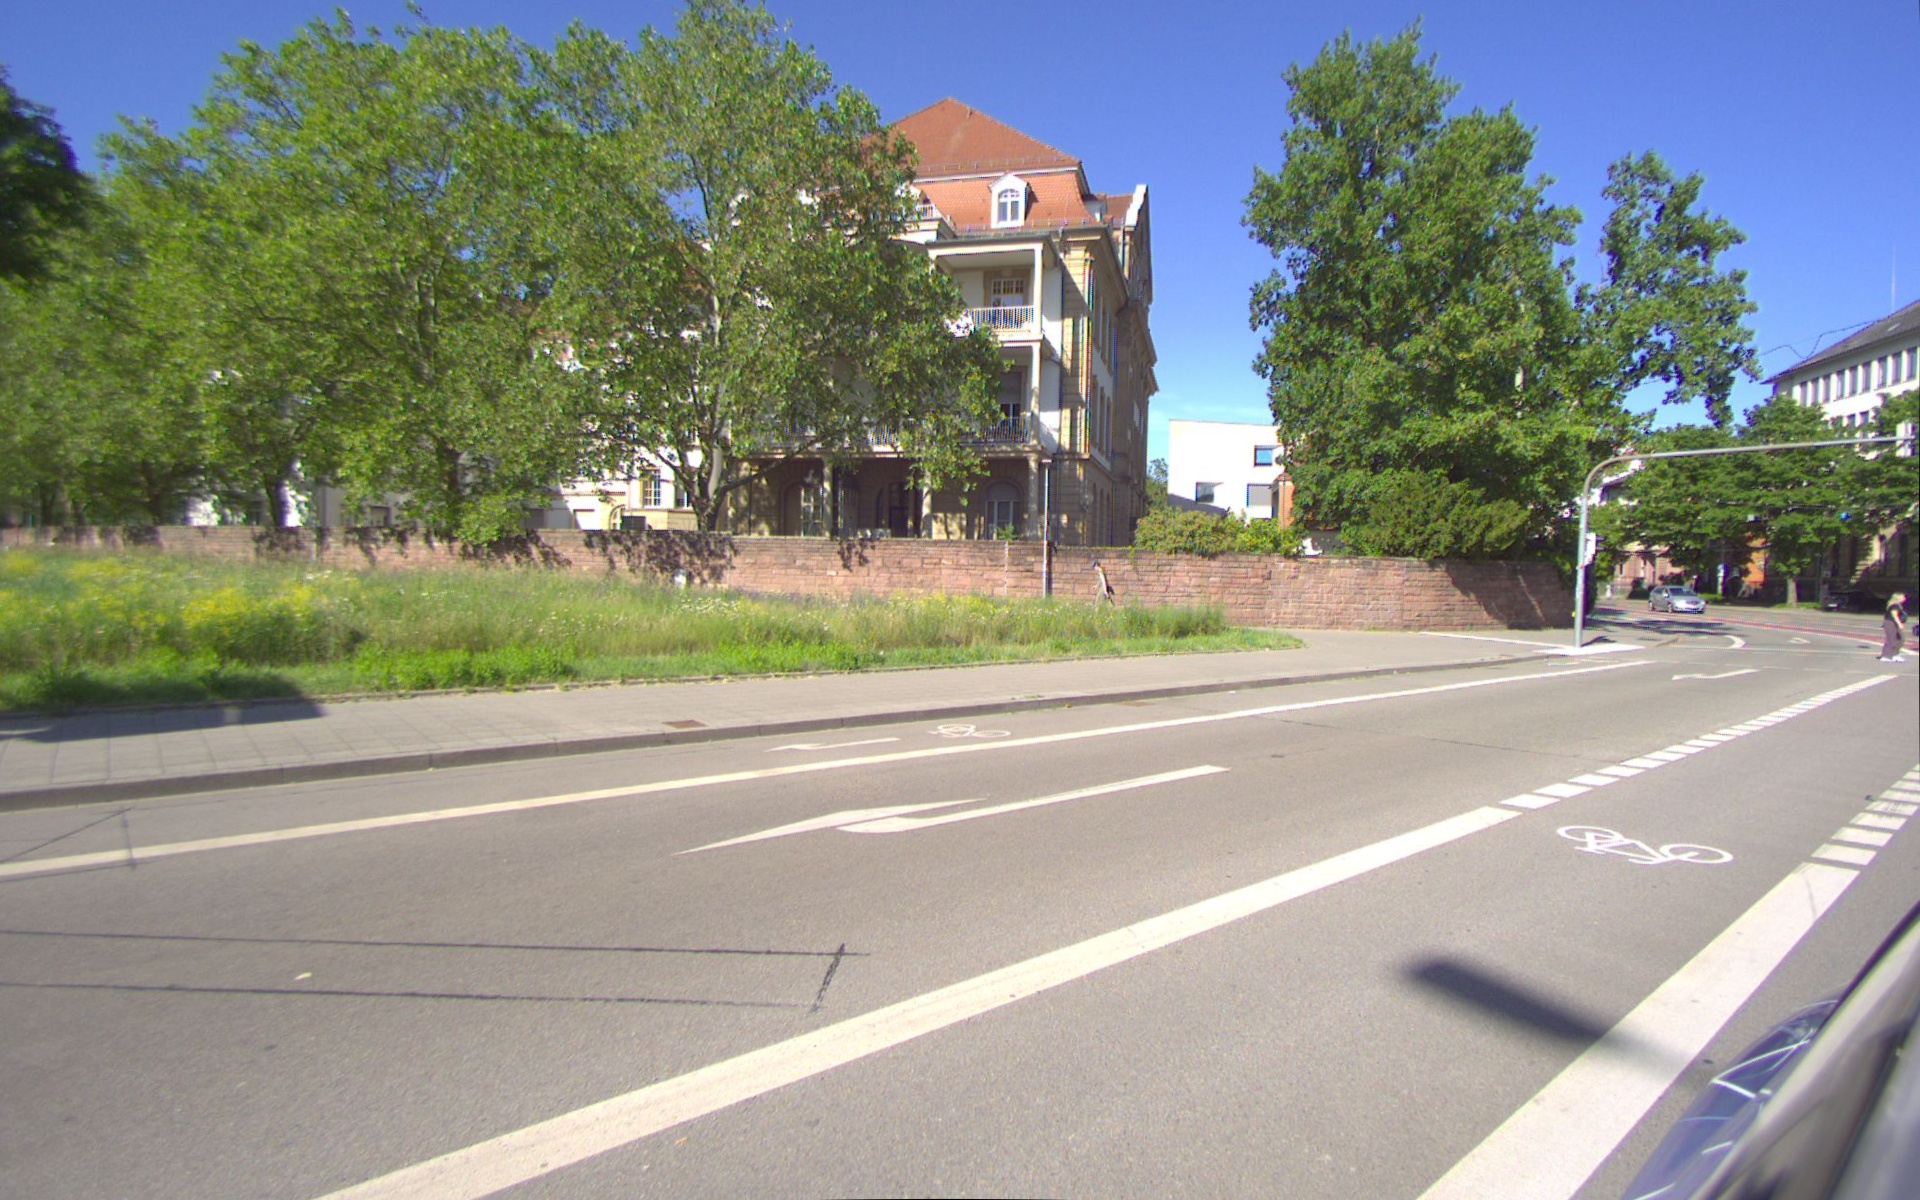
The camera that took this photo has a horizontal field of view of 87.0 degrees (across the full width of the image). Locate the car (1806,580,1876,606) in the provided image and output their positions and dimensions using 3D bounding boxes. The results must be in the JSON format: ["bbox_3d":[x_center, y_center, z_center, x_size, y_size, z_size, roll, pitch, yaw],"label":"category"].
[{"bbox_3d":[60.085,-0.521,69.105,1.806,1.615,3.988,2,2,11],"label":"car"}]

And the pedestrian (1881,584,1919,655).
[{"bbox_3d":[23.209,0.473,24.765,0.620,1.687,0.930,0,2,-44],"label":"pedestrian"}]

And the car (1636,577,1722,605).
[{"bbox_3d":[43.659,-0.561,61.610,1.963,1.610,4.848,0,0,3],"label":"car"}]

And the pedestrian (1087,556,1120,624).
[{"bbox_3d":[4.038,-0.287,28.480,0.772,1.881,0.631,1,1,-2],"label":"pedestrian"}]

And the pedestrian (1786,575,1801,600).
[{"bbox_3d":[66.927,-0.999,81.267,0.568,1.927,0.849,1,1,12],"label":"pedestrian"}]
